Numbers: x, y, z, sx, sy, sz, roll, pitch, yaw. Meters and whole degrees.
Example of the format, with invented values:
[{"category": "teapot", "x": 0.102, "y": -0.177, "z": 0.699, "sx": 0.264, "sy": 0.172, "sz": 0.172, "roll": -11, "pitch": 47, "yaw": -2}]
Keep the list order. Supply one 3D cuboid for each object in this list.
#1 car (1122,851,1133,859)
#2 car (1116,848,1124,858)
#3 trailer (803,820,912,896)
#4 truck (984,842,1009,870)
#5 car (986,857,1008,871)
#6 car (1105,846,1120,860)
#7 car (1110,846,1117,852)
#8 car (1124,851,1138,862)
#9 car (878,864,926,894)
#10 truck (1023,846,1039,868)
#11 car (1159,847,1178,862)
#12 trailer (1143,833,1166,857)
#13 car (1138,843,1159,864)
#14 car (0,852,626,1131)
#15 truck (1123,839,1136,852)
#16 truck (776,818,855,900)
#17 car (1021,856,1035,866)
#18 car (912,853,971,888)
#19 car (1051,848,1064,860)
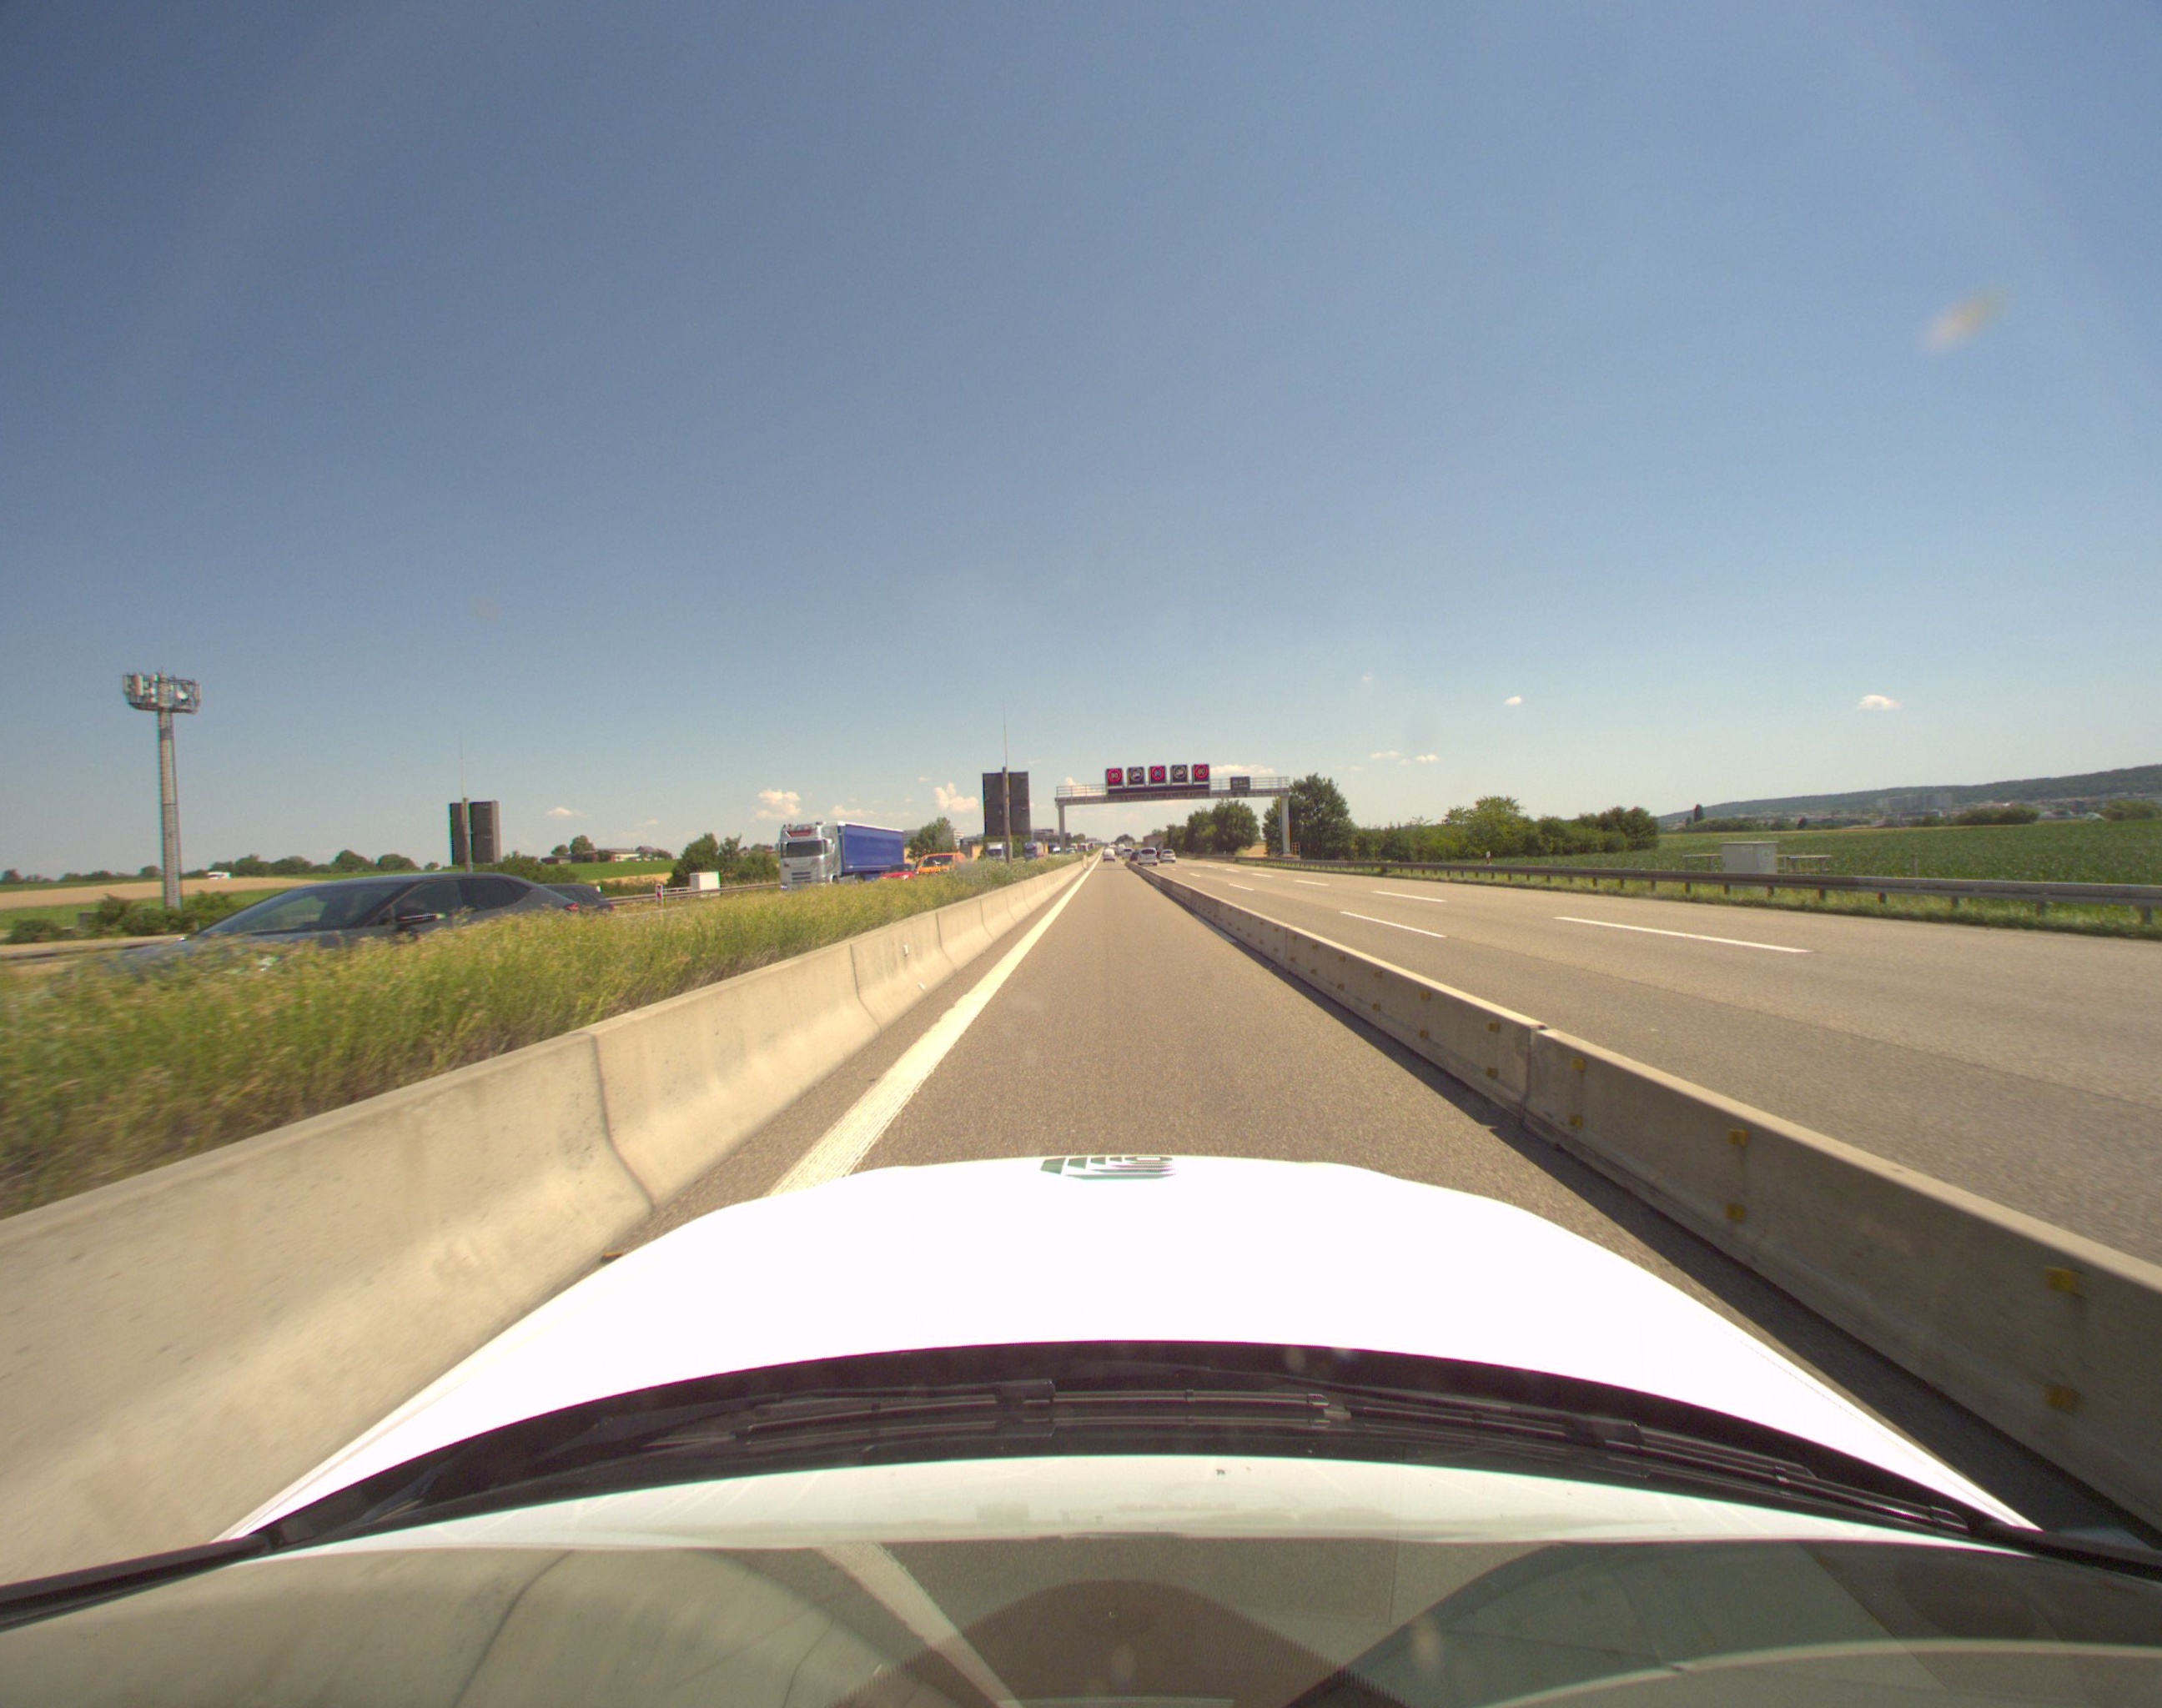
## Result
[{"category": "car", "x": 8.363, "y": 0.198, "z": 146.180, "sx": 1.767, "sy": 1.447, "sz": 4.001, "roll": -2, "pitch": -1, "yaw": 2}, {"category": "car", "x": 9.053, "y": -0.220, "z": 191.401, "sx": 1.767, "sy": 2.392, "sz": 4.001, "roll": -2, "pitch": -1, "yaw": 2}, {"category": "trailer", "x": -13.757, "y": 0.223, "z": 51.806, "sx": 2.377, "sy": 4.086, "sz": 14.104, "roll": -2, "pitch": 0, "yaw": 2}, {"category": "truck", "x": -11.806, "y": 0.268, "z": 114.219, "sx": 2.687, "sy": 3.587, "sz": 4.003, "roll": -4, "pitch": 0, "yaw": 2}, {"category": "car", "x": -8.785, "y": 1.040, "z": 85.147, "sx": 1.827, "sy": 1.324, "sz": 4.279, "roll": -4, "pitch": 0, "yaw": -1}, {"category": "car", "x": 4.595, "y": -0.166, "z": 119.157, "sx": 1.986, "sy": 2.014, "sz": 4.001, "roll": -2, "pitch": -1, "yaw": 2}, {"category": "car", "x": 10.269, "y": -1.542, "z": 257.002, "sx": 1.986, "sy": 1.835, "sz": 4.001, "roll": -1, "pitch": -1, "yaw": 2}, {"category": "car", "x": 6.892, "y": 0.329, "z": 111.731, "sx": 1.767, "sy": 1.447, "sz": 4.001, "roll": -2, "pitch": -1, "yaw": 2}, {"category": "car", "x": -10.009, "y": 1.352, "z": 45.817, "sx": 1.582, "sy": 1.508, "sz": 4.231, "roll": -2, "pitch": 0, "yaw": 2}, {"category": "truck", "x": -10.213, "y": 0.647, "z": 167.195, "sx": 2.583, "sy": 4.238, "sz": 4.856, "roll": -5, "pitch": 0, "yaw": 1}, {"category": "car", "x": 11.008, "y": 0.039, "z": 102.427, "sx": 1.986, "sy": 1.794, "sz": 4.001, "roll": -2, "pitch": -1, "yaw": 2}, {"category": "trailer", "x": 12.550, "y": -1.464, "z": 138.879, "sx": 3.265, "sy": 3.967, "sz": 9.115, "roll": -2, "pitch": -1, "yaw": 2}, {"category": "car", "x": 7.037, "y": -0.031, "z": 85.408, "sx": 1.986, "sy": 2.120, "sz": 4.001, "roll": -2, "pitch": -1, "yaw": 2}, {"category": "car", "x": -7.137, "y": 1.029, "z": 8.430, "sx": 1.985, "sy": 2.013, "sz": 4.688, "roll": -2, "pitch": 0, "yaw": 3}, {"category": "truck", "x": 15.585, "y": -2.735, "z": 263.676, "sx": 3.802, "sy": 3.904, "sz": 9.583, "roll": -2, "pitch": 0, "yaw": 1}, {"category": "truck", "x": -14.071, "y": 0.245, "z": 43.532, "sx": 2.402, "sy": 4.086, "sz": 4.662, "roll": -2, "pitch": 0, "yaw": 2}, {"category": "car", "x": -7.660, "y": 0.994, "z": 117.892, "sx": 1.553, "sy": 1.442, "sz": 3.837, "roll": -2, "pitch": 0, "yaw": 1}, {"category": "car", "x": -6.682, "y": 0.754, "z": 39.646, "sx": 1.887, "sy": 1.578, "sz": 4.938, "roll": -1, "pitch": 0, "yaw": 1}, {"category": "car", "x": -4.055, "y": -0.004, "z": 140.381, "sx": 1.986, "sy": 1.946, "sz": 4.796, "roll": -2, "pitch": 0, "yaw": 1}]
